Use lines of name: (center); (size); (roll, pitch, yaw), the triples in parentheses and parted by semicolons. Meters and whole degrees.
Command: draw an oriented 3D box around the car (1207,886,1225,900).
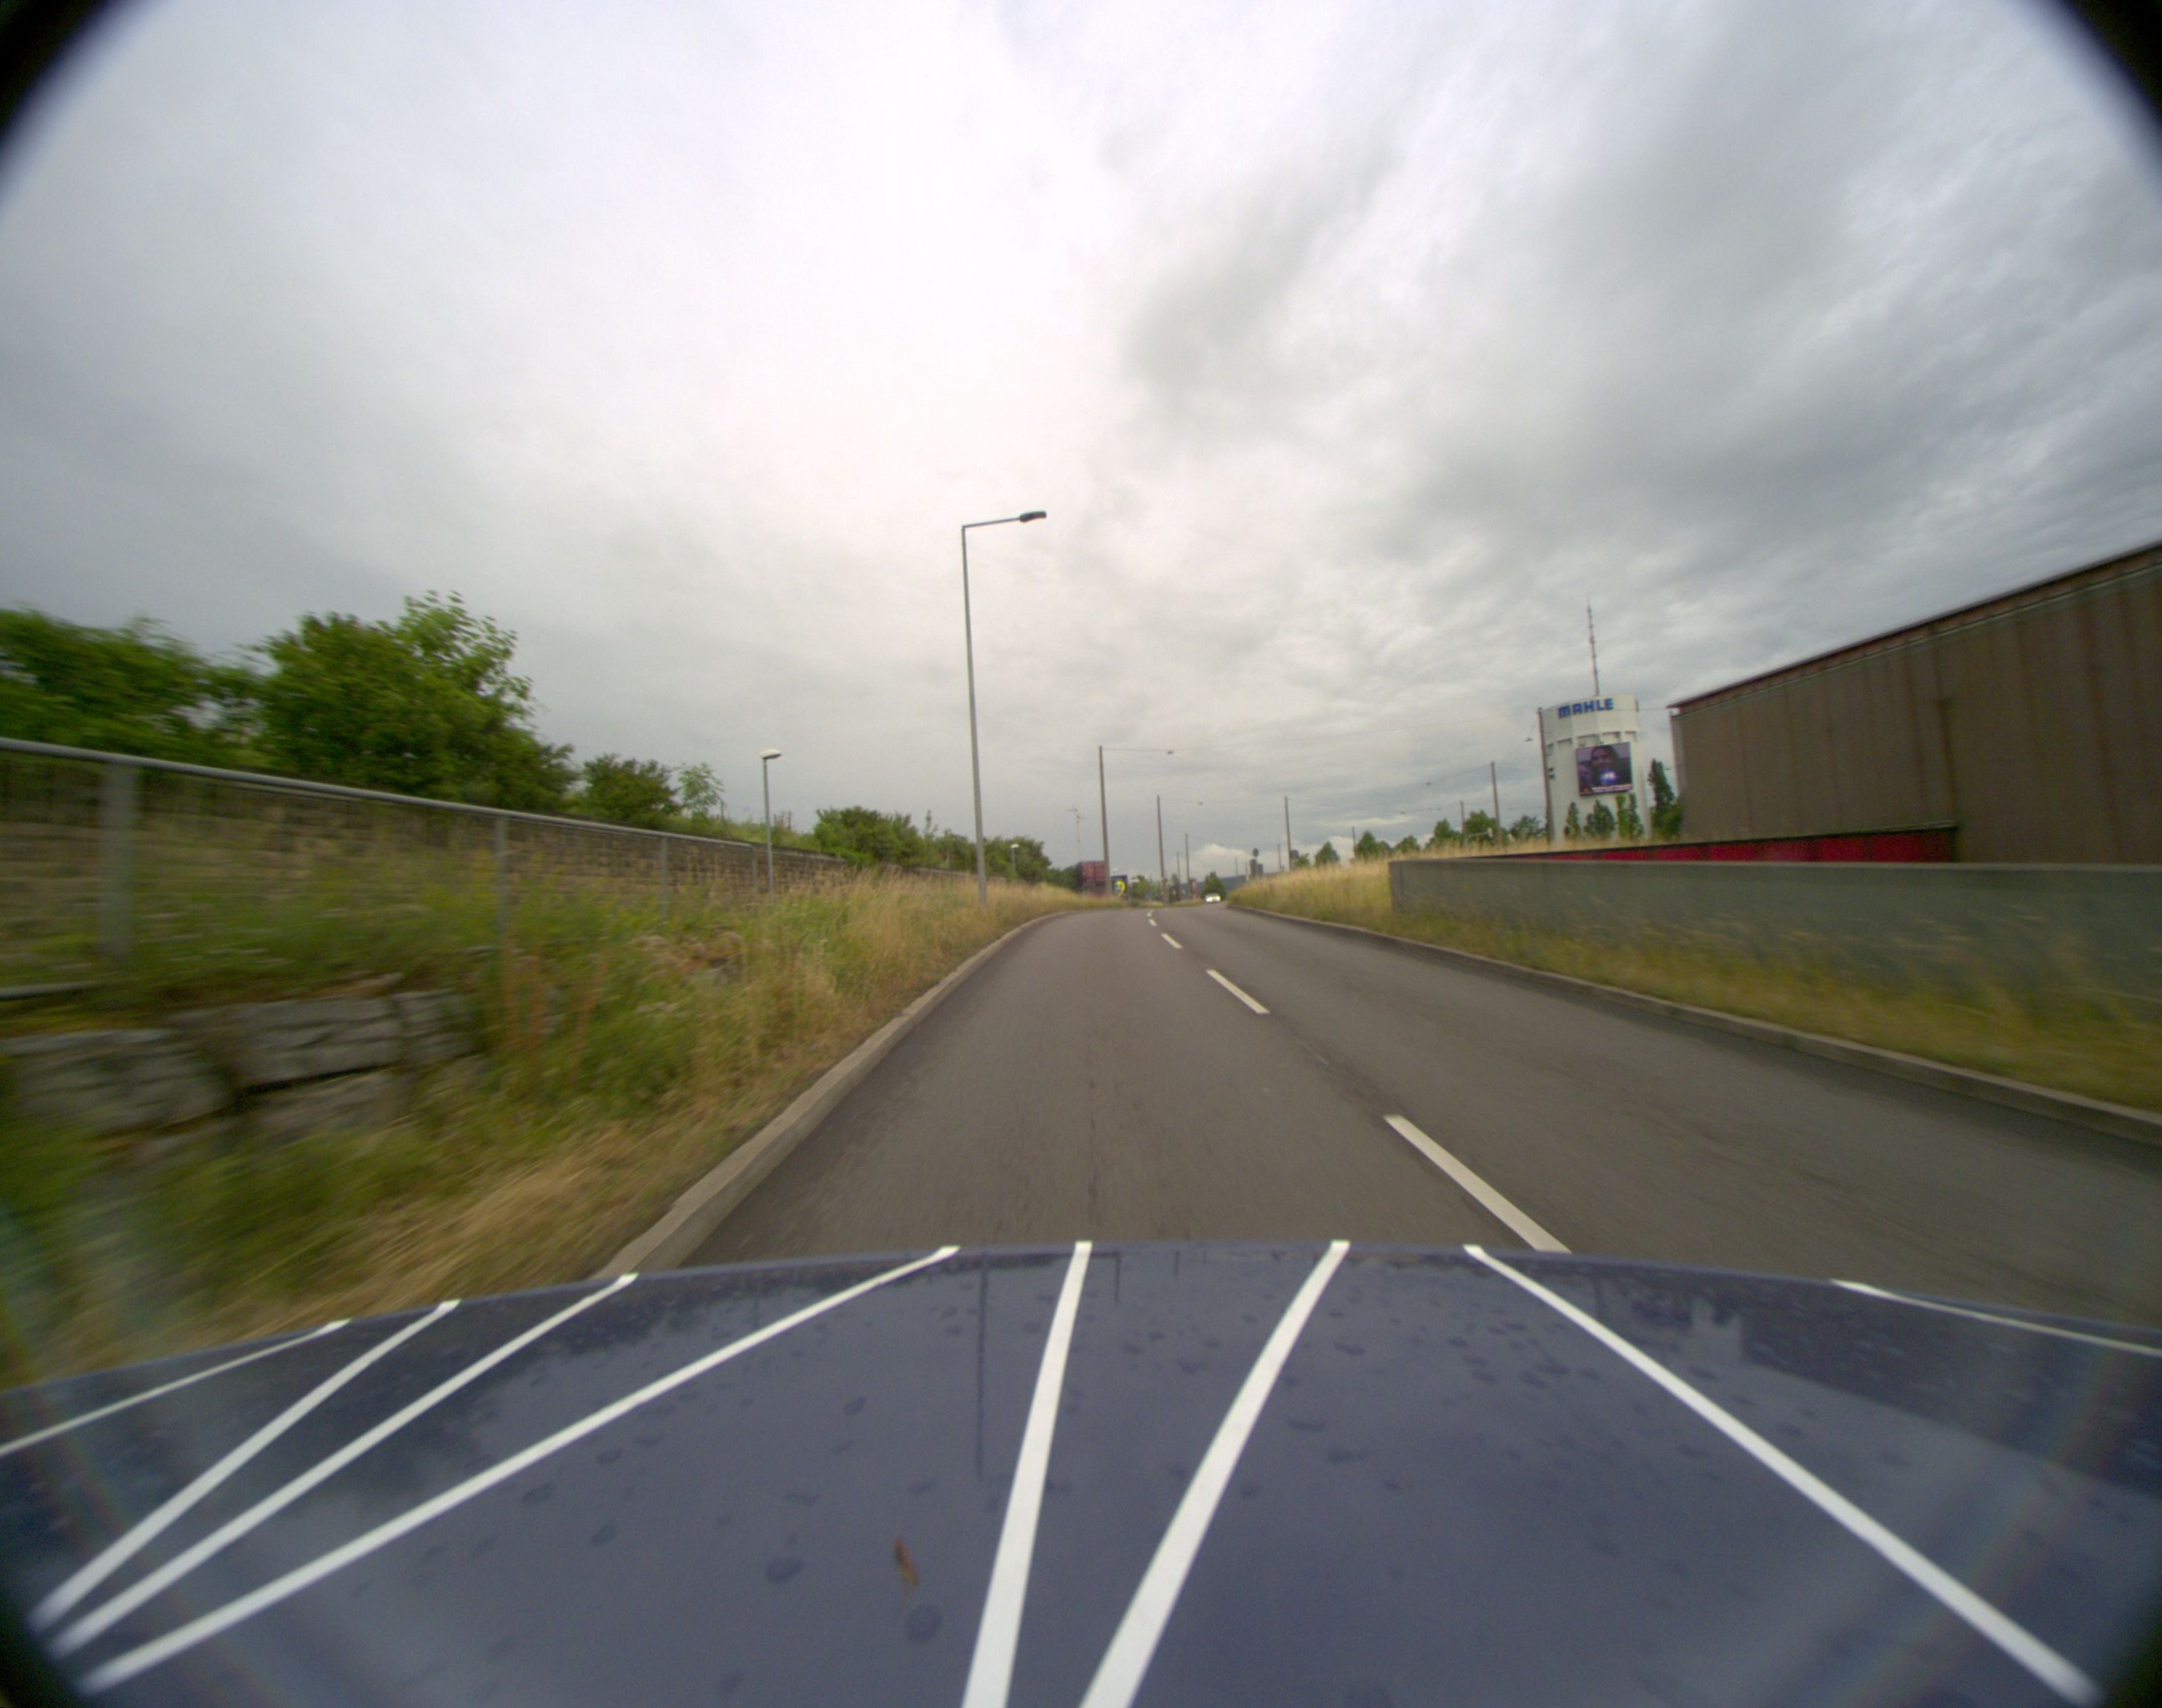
car: (21.107, 6.121, 119.129); (1.998, 2.000, 4.003); (-6, -4, 1)

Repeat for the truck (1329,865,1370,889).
truck: (38.945, 3.398, 110.431); (2.132, 2.816, 6.027); (-4, -4, -19)
